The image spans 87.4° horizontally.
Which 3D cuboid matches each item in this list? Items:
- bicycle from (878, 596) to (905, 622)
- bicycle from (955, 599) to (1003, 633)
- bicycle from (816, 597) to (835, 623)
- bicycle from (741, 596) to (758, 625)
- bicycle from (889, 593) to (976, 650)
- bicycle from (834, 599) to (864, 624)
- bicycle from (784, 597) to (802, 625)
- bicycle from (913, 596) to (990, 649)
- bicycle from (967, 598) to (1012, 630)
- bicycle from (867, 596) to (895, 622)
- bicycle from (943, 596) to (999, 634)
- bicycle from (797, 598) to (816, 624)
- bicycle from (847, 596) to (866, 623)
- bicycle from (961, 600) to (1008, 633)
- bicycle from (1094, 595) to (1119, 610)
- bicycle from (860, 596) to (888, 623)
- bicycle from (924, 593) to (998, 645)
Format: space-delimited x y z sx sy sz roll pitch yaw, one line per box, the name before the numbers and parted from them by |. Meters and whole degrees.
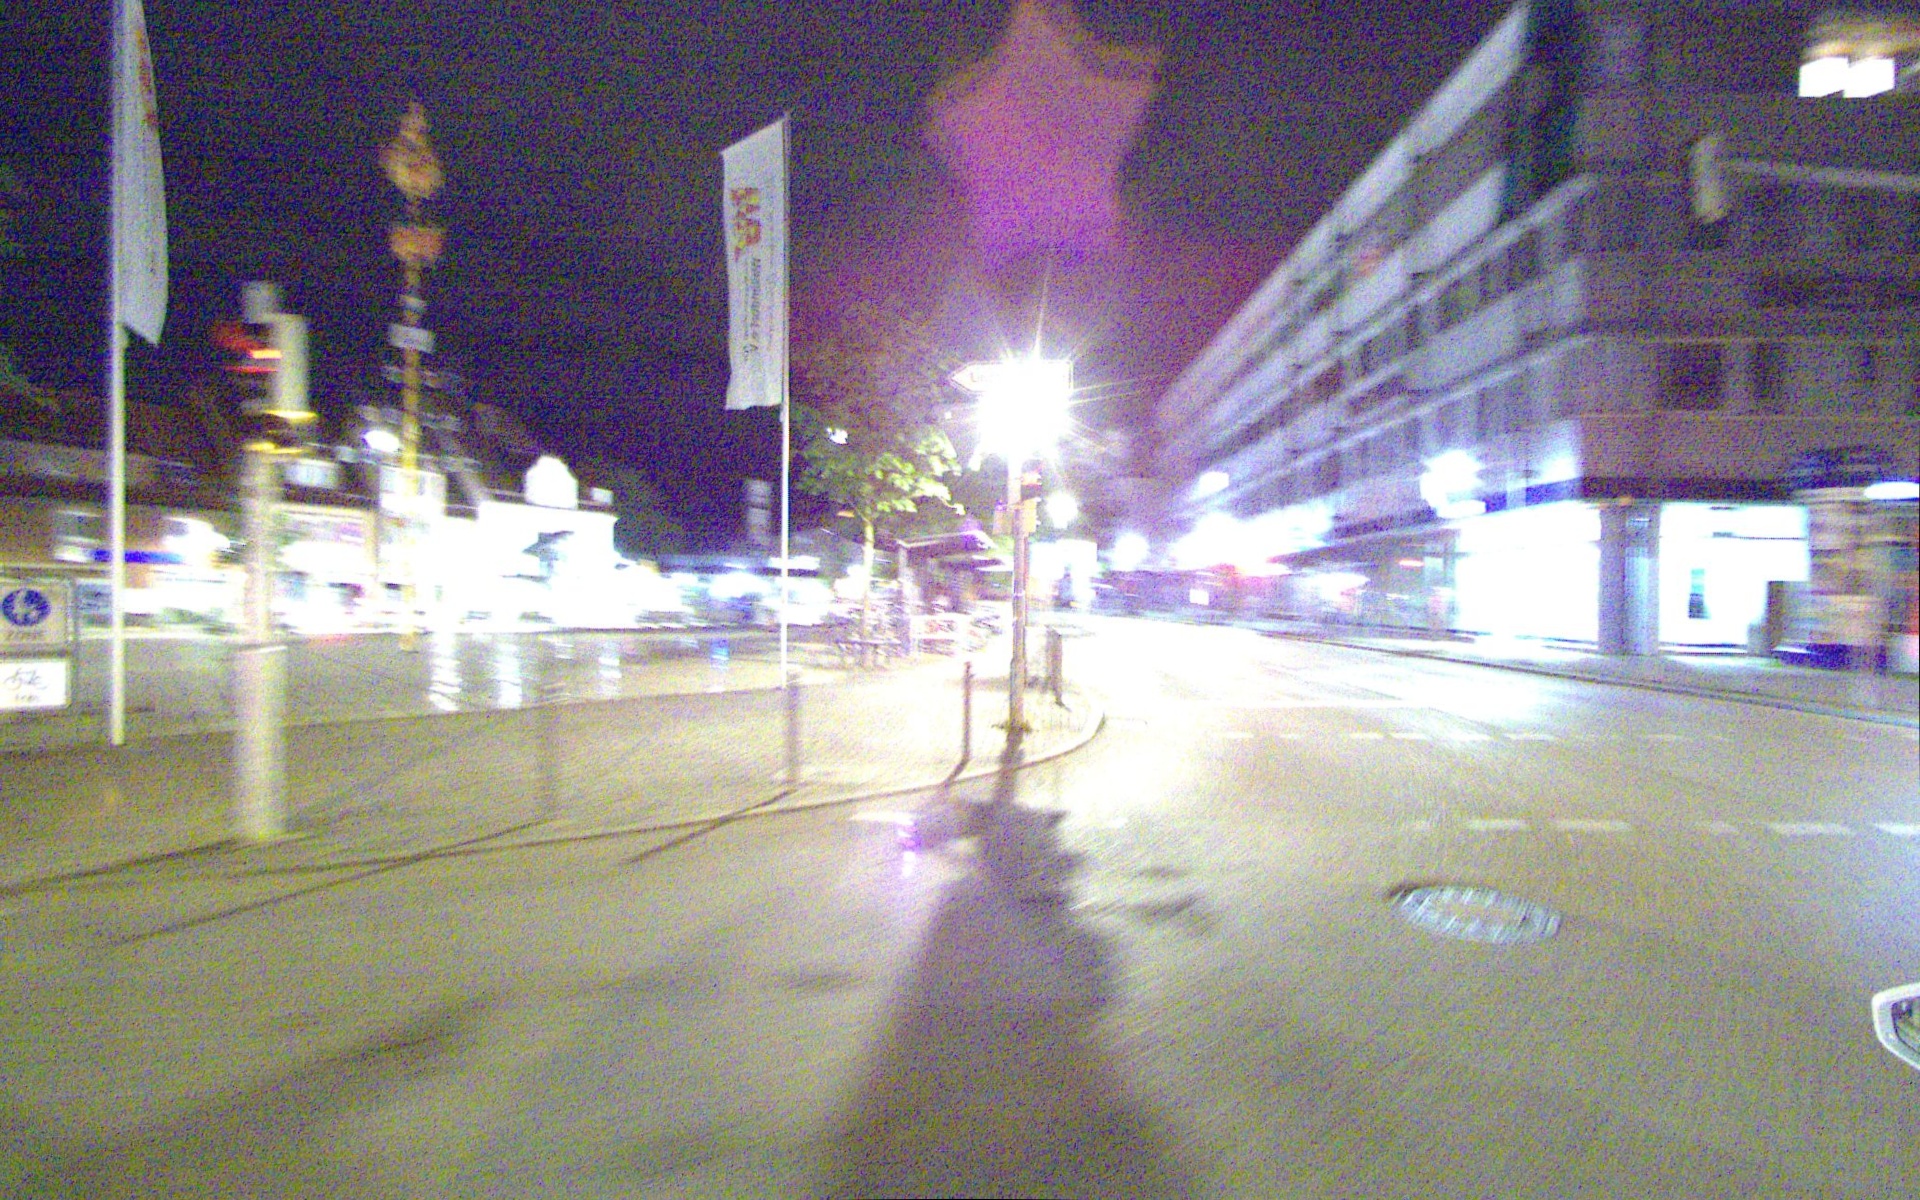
bicycle | -3.196 0.402 46.750 0.538 1.170 1.733 -2 2 -30
bicycle | 0.649 0.534 33.745 1.589 1.120 0.670 0 0 2
bicycle | -6.090 0.448 45.470 0.599 1.140 1.741 -1 2 -15
bicycle | -9.176 0.443 43.833 0.599 1.235 1.741 -1 2 -15
bicycle | -0.603 0.472 22.648 1.802 1.173 0.787 3 0 7
bicycle | -5.010 0.499 45.343 0.602 1.084 1.731 -2 2 -33
bicycle | -7.447 0.477 44.657 0.599 1.181 1.741 -1 2 -15
bicycle | -0.192 0.522 23.921 1.705 1.173 0.787 3 0 7
bicycle | 1.051 0.489 35.791 1.589 1.120 0.670 0 0 2
bicycle | -3.696 0.405 46.653 0.601 1.181 1.733 -2 2 -30
bicycle | 0.361 0.474 31.687 1.739 1.179 0.670 0 1 2
bicycle | -6.891 0.476 45.070 0.599 1.115 1.741 -1 2 -15
bicycle | -4.809 0.414 46.731 0.599 1.181 1.741 -1 2 -15
bicycle | 0.846 0.553 34.491 1.589 1.120 0.670 0 0 2
bicycle | 10.667 0.170 73.118 1.730 1.077 0.652 0 1 -23
bicycle | -3.931 0.432 45.834 0.601 1.181 1.733 -2 2 -30
bicycle | 0.042 0.456 24.984 1.705 1.182 0.787 3 1 7
